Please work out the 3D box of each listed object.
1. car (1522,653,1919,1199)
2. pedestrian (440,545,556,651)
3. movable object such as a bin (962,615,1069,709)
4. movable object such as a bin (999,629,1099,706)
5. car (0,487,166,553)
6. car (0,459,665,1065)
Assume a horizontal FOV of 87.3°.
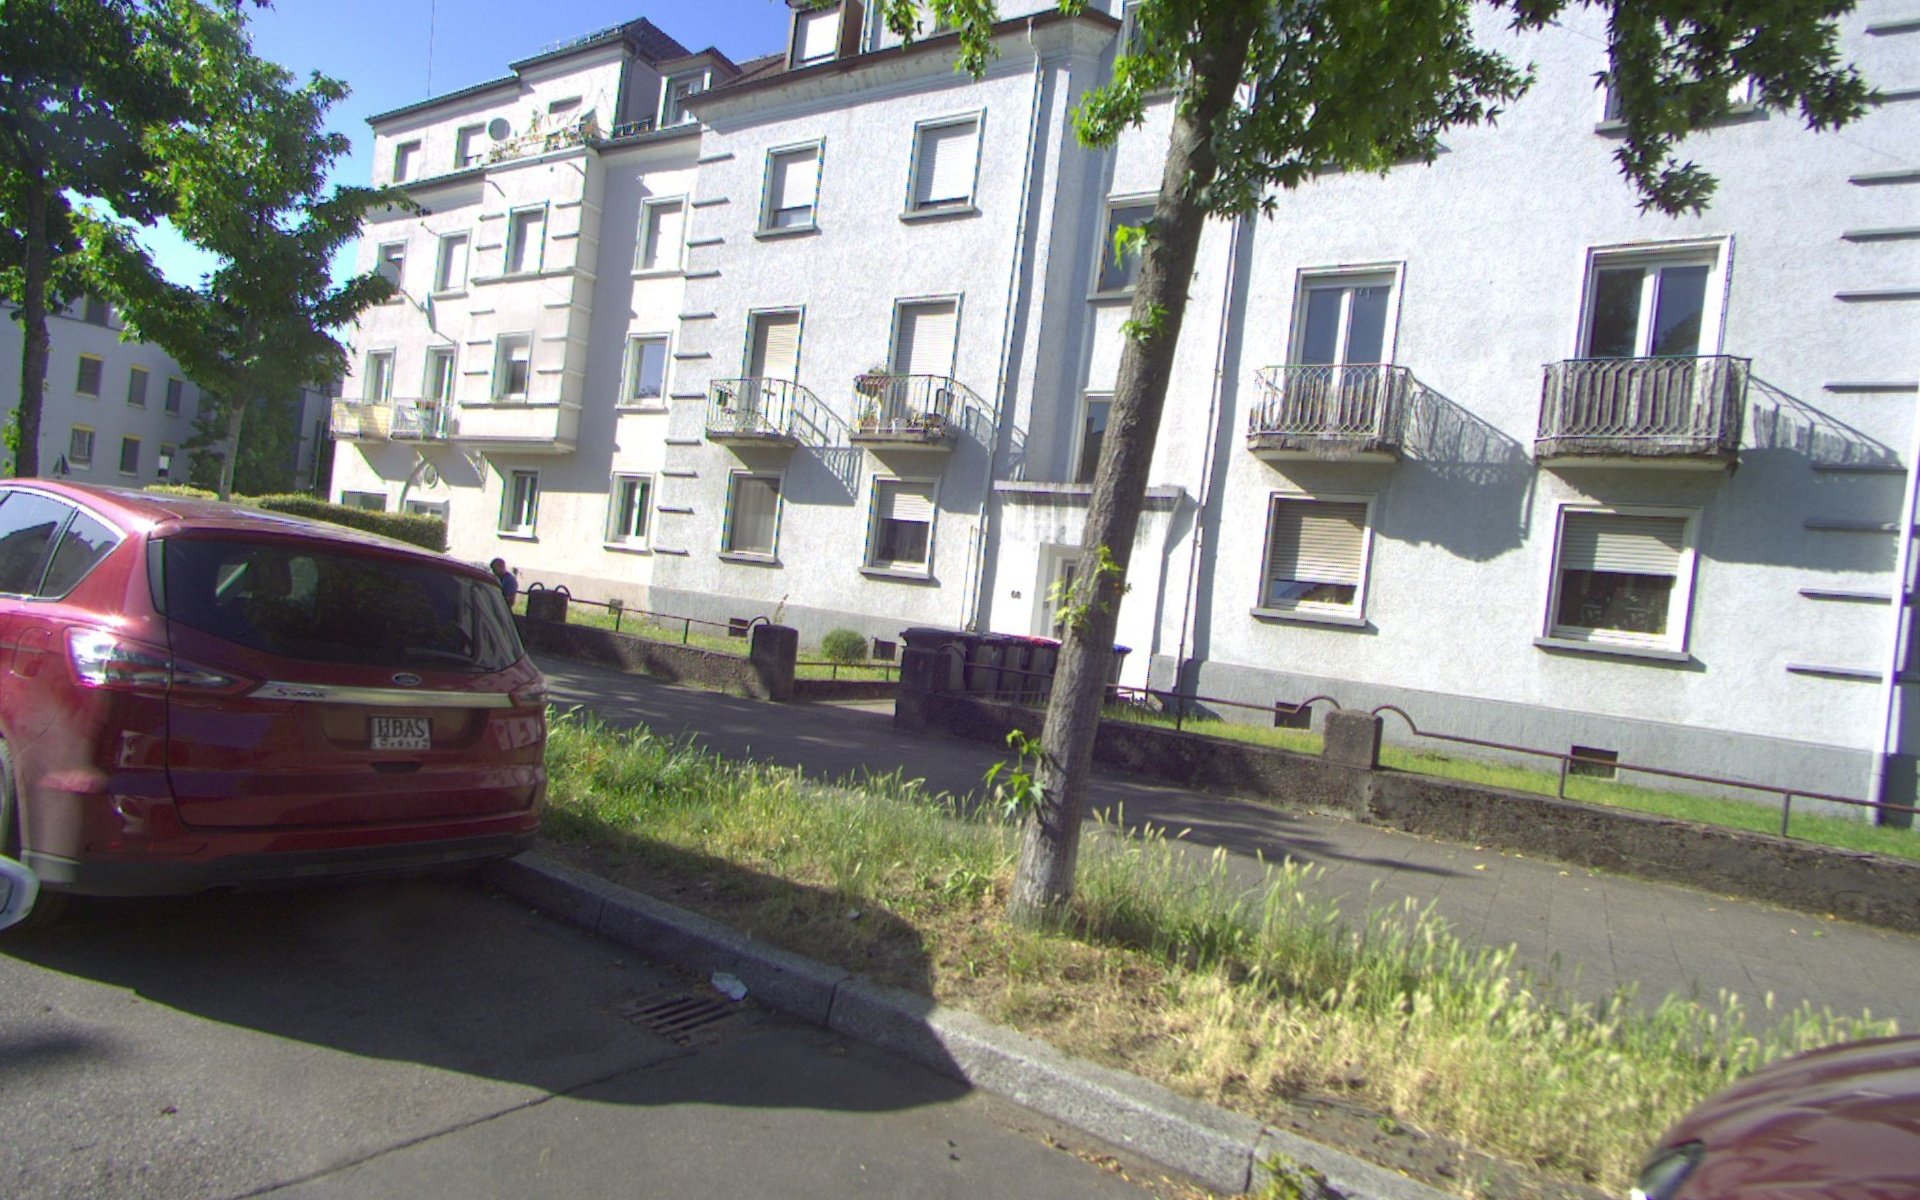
[{"bbox_3d":[2.915,1.082,0.568,4.518,1.588,1.931,6,1,32],"label":"car"},{"bbox_3d":[-6.467,-0.010,14.113,0.805,1.310,1.084,6,-3,30],"label":"pedestrian"},{"bbox_3d":[0.706,0.793,12.809,0.994,1.038,0.776,6,-3,36],"label":"movable object such as a bin"},{"bbox_3d":[1.196,0.905,13.493,0.995,0.872,0.776,6,-3,37],"label":"movable object such as a bin"},{"bbox_3d":[-29.840,-2.665,34.335,1.808,1.521,4.143,7,-2,6],"label":"car"},{"bbox_3d":[-3.901,0.321,4.850,4.892,1.632,1.901,6,-2,33],"label":"car"}]
